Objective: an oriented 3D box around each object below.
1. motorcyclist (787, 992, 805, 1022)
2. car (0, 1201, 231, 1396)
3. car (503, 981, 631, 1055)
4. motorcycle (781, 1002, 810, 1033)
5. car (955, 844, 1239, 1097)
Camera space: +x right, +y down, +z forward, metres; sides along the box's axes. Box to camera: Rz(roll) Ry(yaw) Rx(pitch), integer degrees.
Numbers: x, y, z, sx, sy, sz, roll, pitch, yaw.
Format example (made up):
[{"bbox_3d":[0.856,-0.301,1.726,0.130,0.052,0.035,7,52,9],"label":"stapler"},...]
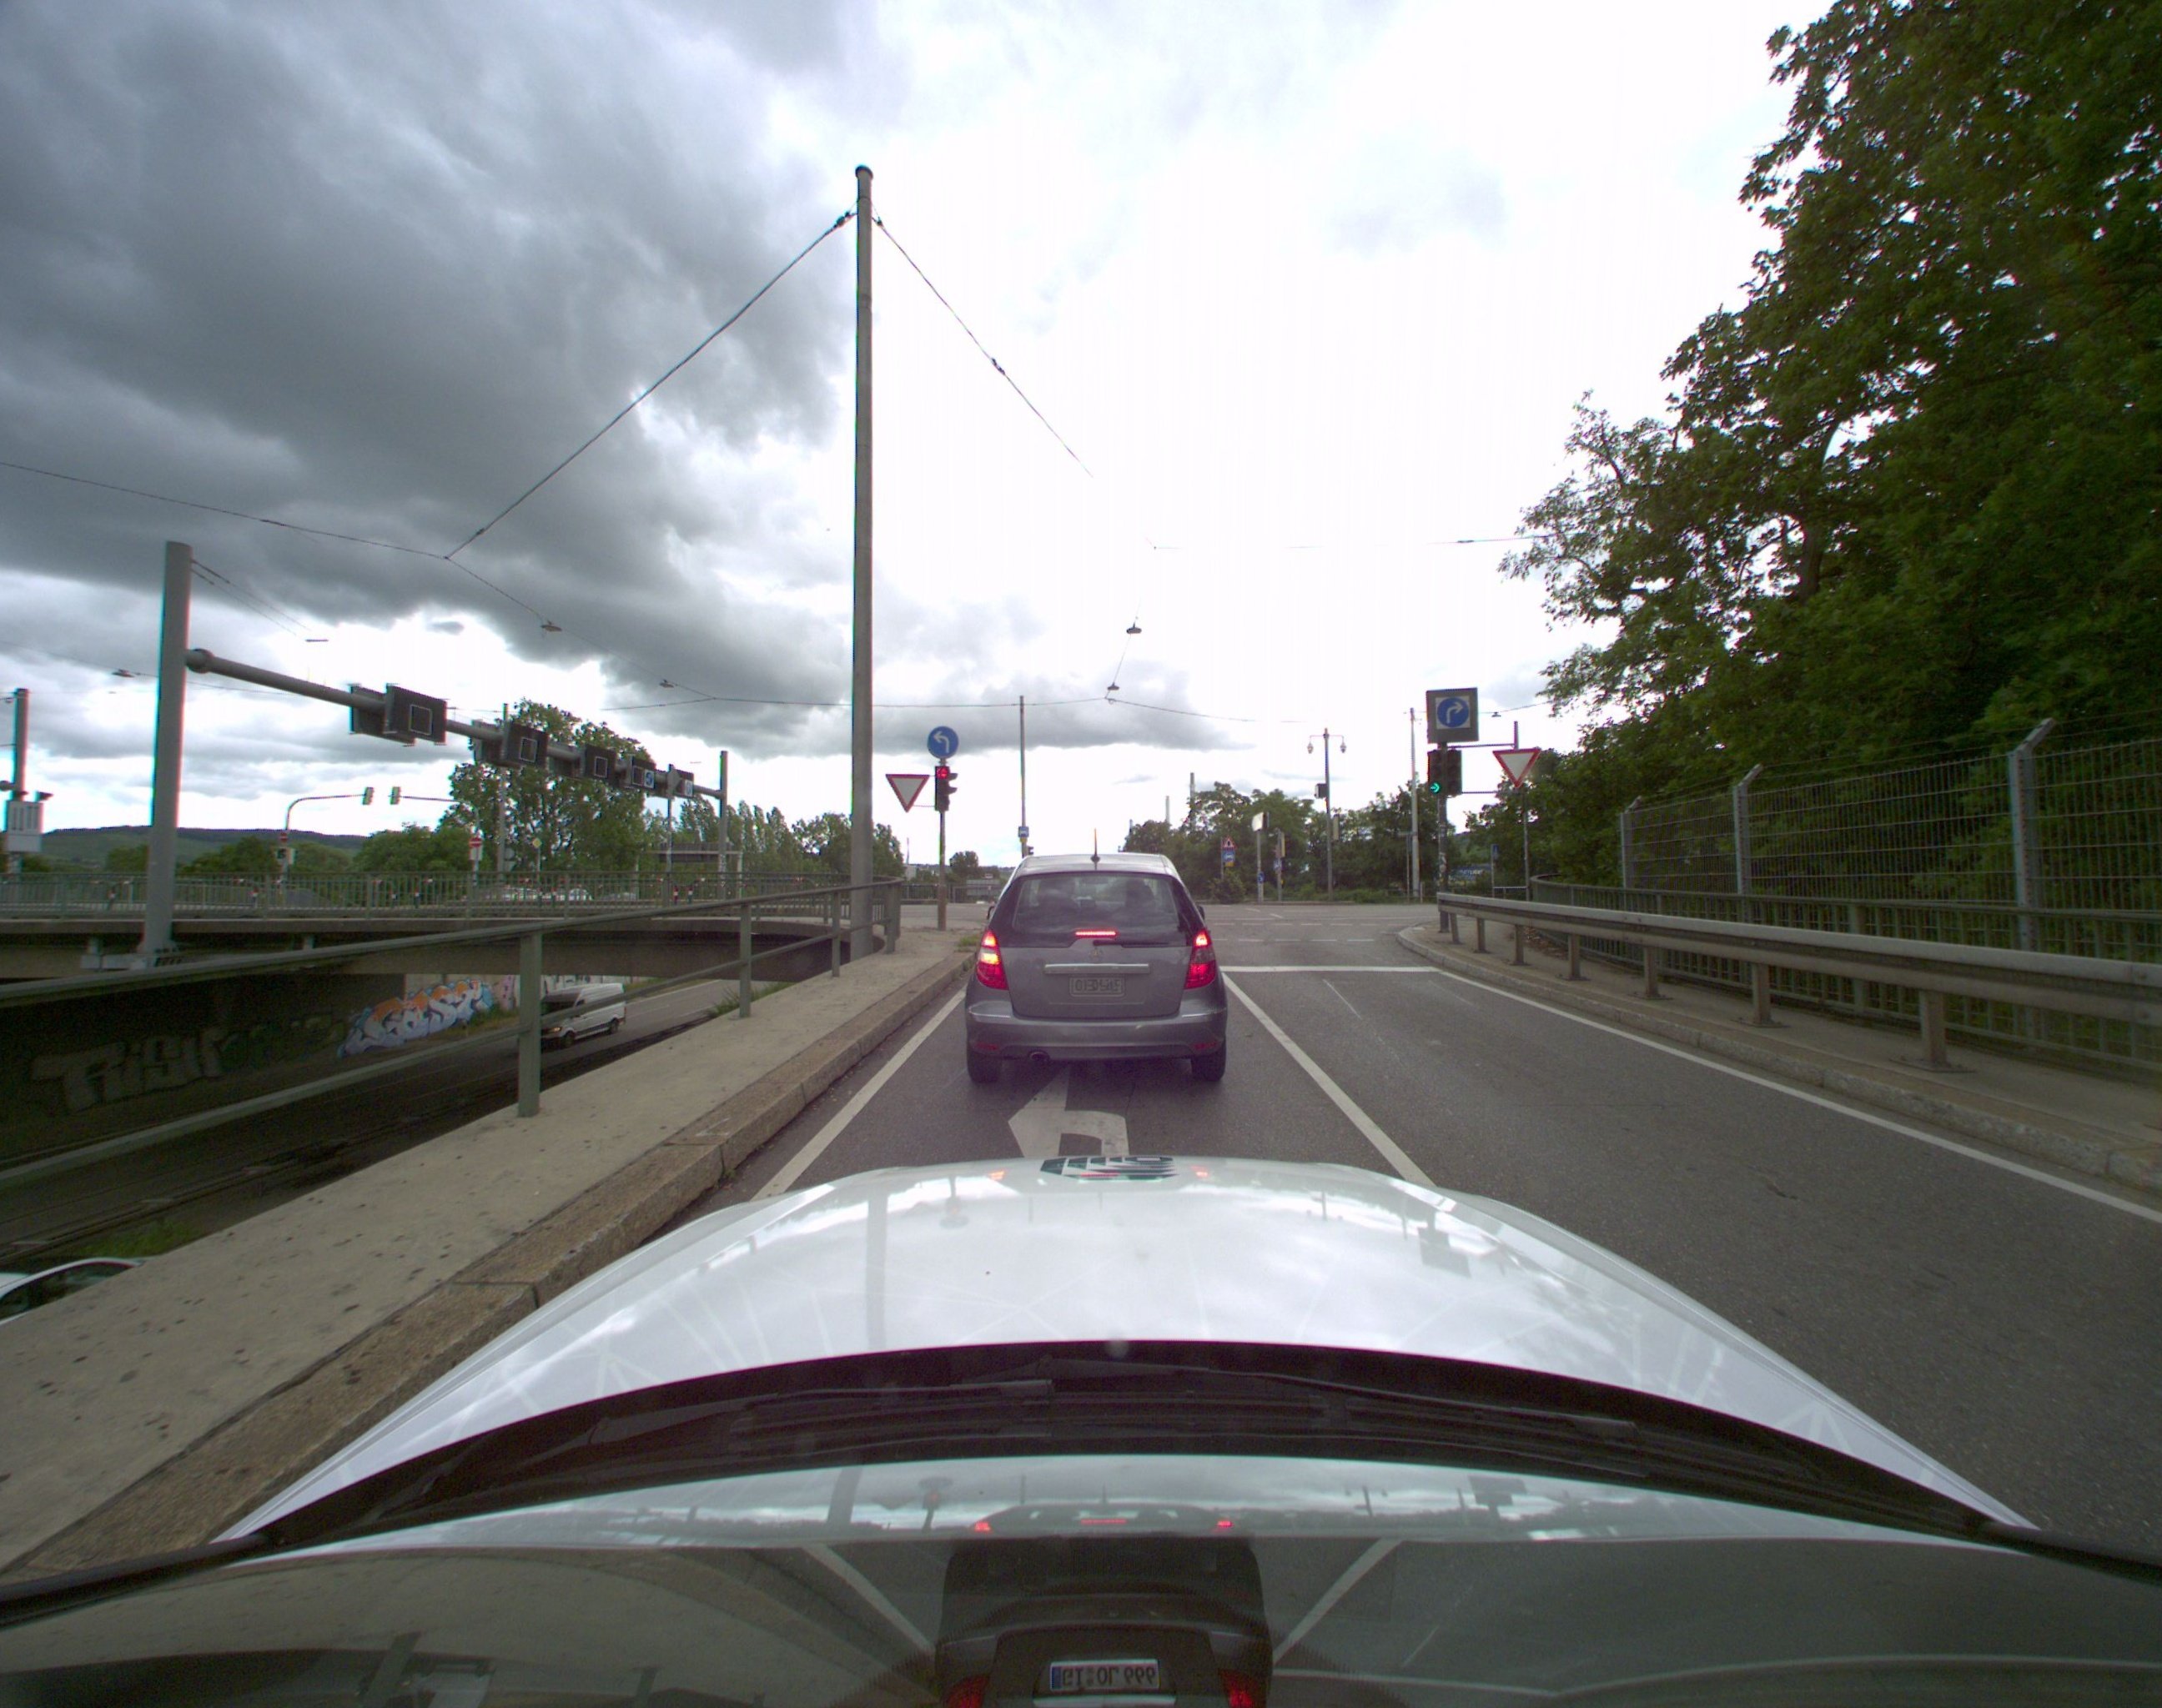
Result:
[{"bbox_3d":[-14.202,7.620,40.552,0.591,1.372,0.762,-1,-3,3],"label":"motorcyclist"},{"bbox_3d":[-15.409,6.617,12.066,1.685,1.533,3.610,-1,-3,3],"label":"car"},{"bbox_3d":[-24.728,7.838,39.592,2.158,2.595,6.104,-2,-3,2],"label":"car"},{"bbox_3d":[-14.195,8.128,40.544,0.591,1.203,2.127,-1,-3,3],"label":"motorcycle"},{"bbox_3d":[0.160,0.728,6.773,1.733,1.543,3.542,0,-1,2],"label":"car"}]
